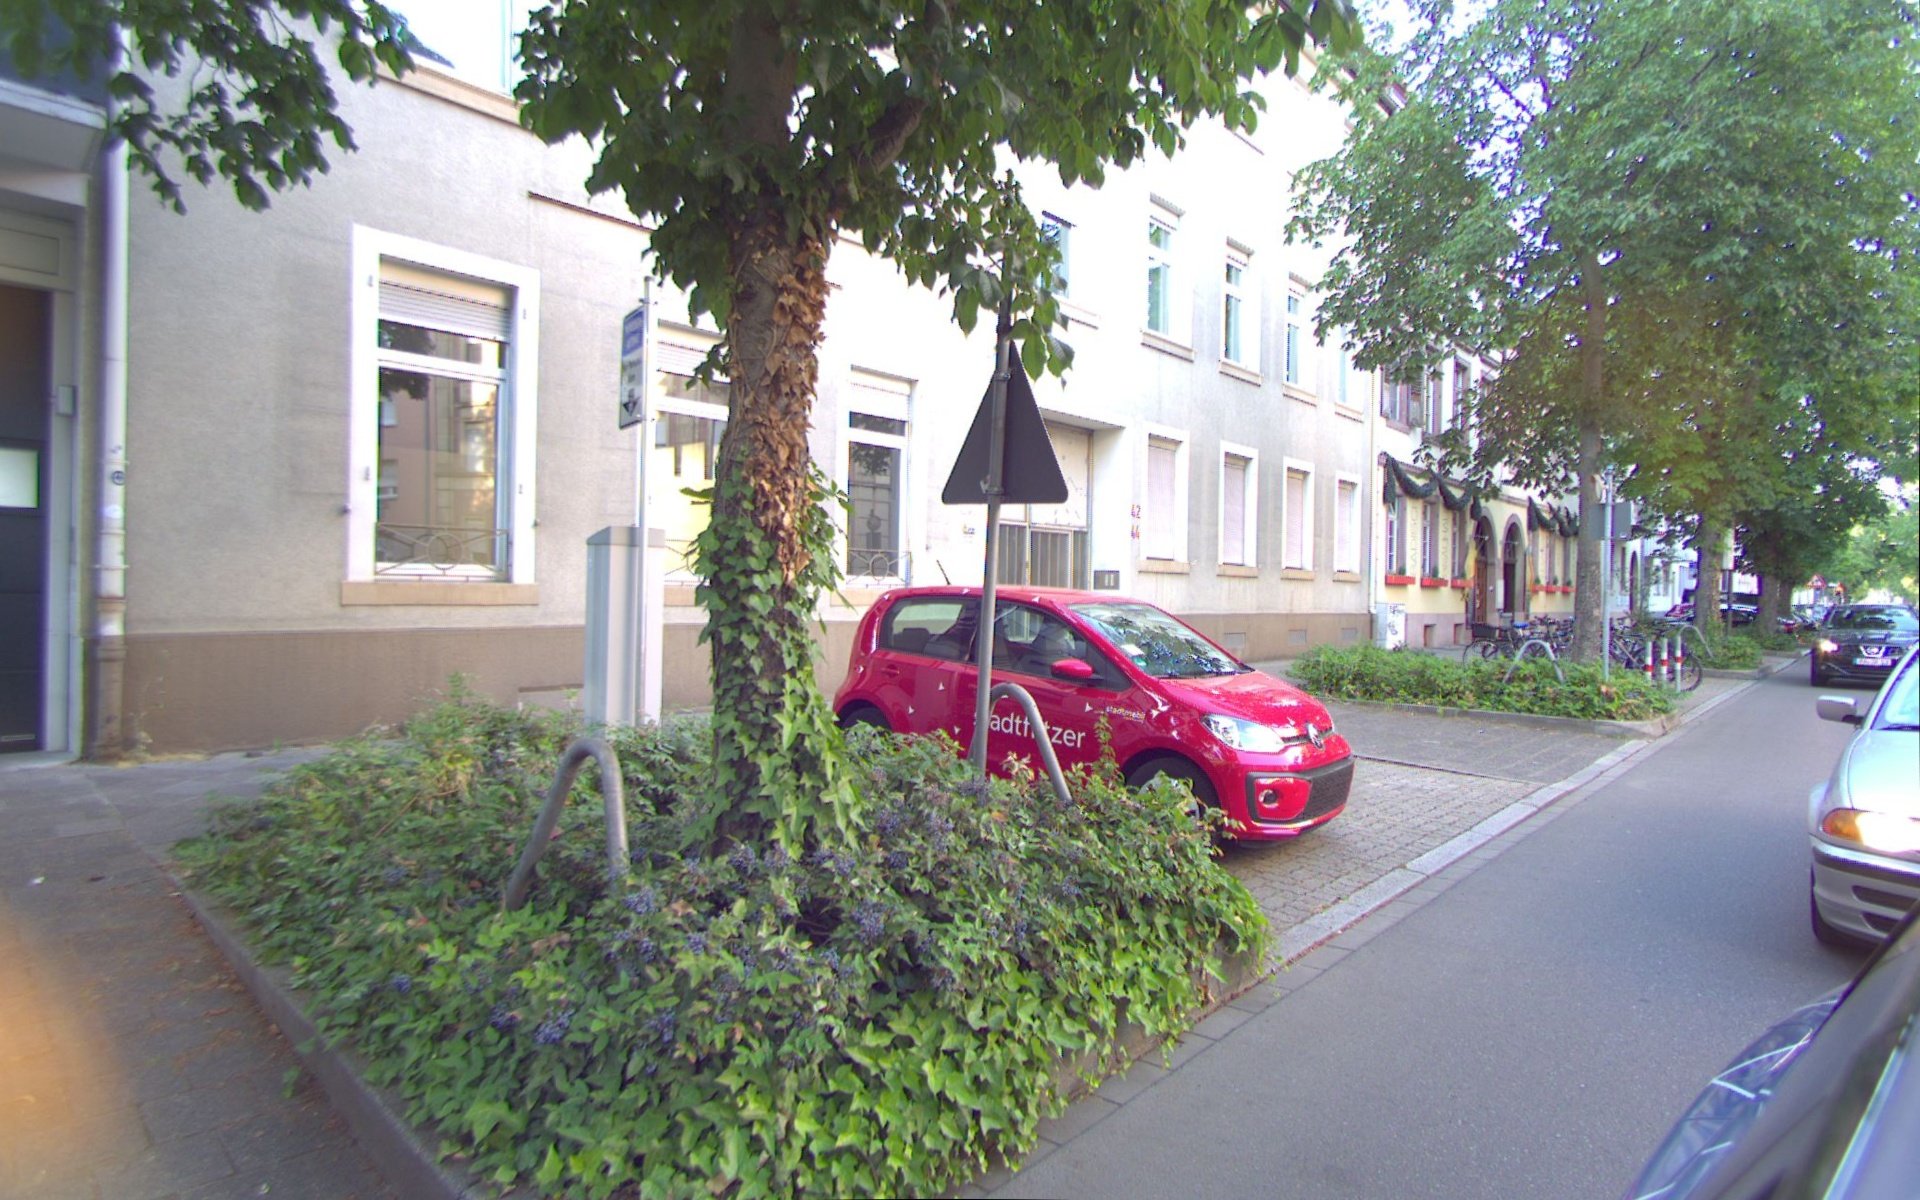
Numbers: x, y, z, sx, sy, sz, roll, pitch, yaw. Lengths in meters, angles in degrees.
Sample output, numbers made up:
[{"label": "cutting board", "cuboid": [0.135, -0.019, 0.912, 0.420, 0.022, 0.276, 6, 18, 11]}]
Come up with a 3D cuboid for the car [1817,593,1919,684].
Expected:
[{"label": "car", "cuboid": [17.893, 0.681, 19.498, 1.802, 1.571, 3.935, 2, 1, 45]}]

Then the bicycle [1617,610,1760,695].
[{"label": "bicycle", "cuboid": [11.851, 0.828, 16.535, 1.835, 1.242, 0.529, 2, 1, 33]}]

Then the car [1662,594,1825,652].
[{"label": "car", "cuboid": [26.613, 0.726, 34.454, 4.232, 1.761, 1.715, 2, 1, 43]}]

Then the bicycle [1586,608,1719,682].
[{"label": "bicycle", "cuboid": [12.989, 0.815, 19.015, 2.019, 1.242, 0.528, 2, 1, 39]}]

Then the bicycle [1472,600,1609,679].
[{"label": "bicycle", "cuboid": [10.082, 0.655, 17.625, 2.014, 1.242, 0.529, 2, 1, 33]}]

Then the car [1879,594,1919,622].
[{"label": "car", "cuboid": [54.690, 0.445, 58.773, 1.802, 1.571, 3.935, 2, 1, 45]}]

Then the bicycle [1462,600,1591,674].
[{"label": "bicycle", "cuboid": [10.298, 0.646, 18.434, 2.014, 1.242, 0.529, 2, 1, 33]}]

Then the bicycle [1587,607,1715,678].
[{"label": "bicycle", "cuboid": [13.469, 0.805, 19.768, 2.019, 1.242, 0.528, 2, 1, 39]}]

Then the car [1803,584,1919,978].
[{"label": "car", "cuboid": [5.552, 0.686, 4.793, 4.358, 1.460, 1.710, 0, 1, -41]}]

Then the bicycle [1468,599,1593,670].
[{"label": "bicycle", "cuboid": [10.929, 0.633, 19.429, 2.017, 1.242, 0.529, 2, 1, 37]}]

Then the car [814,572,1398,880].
[{"label": "car", "cuboid": [0.807, 0.585, 6.818, 3.608, 1.495, 1.639, 2, 1, 42]}]

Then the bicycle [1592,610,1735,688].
[{"label": "bicycle", "cuboid": [12.353, 0.829, 17.822, 2.019, 1.242, 0.528, 2, 1, 39]}]
